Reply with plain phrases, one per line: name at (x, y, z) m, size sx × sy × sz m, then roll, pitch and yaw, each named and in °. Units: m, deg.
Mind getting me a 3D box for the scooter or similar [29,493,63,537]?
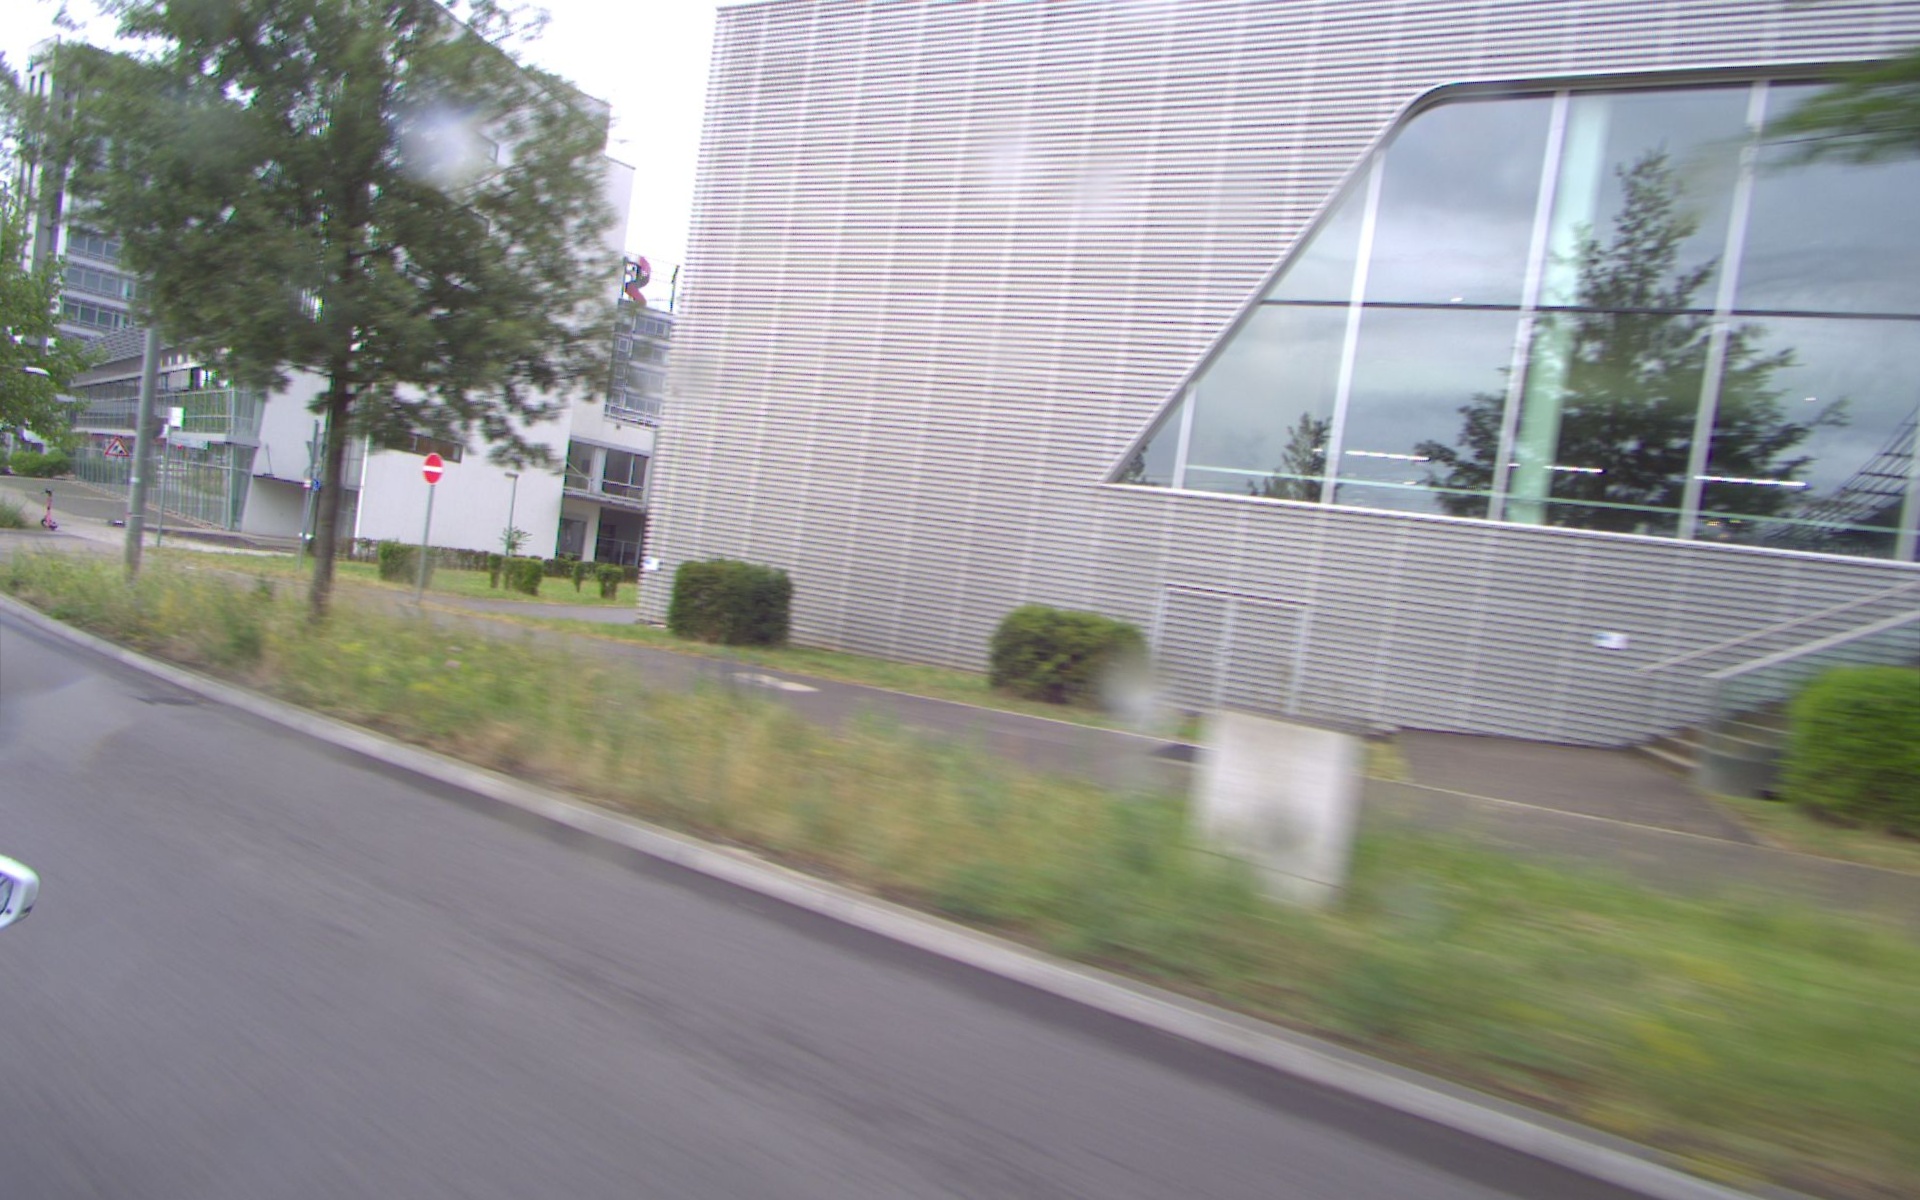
scooter or similar at (-29.013, -2.714, 31.937) m, size 1.315 × 1.280 × 0.457 m, roll 7°, pitch 3°, yaw 33°
